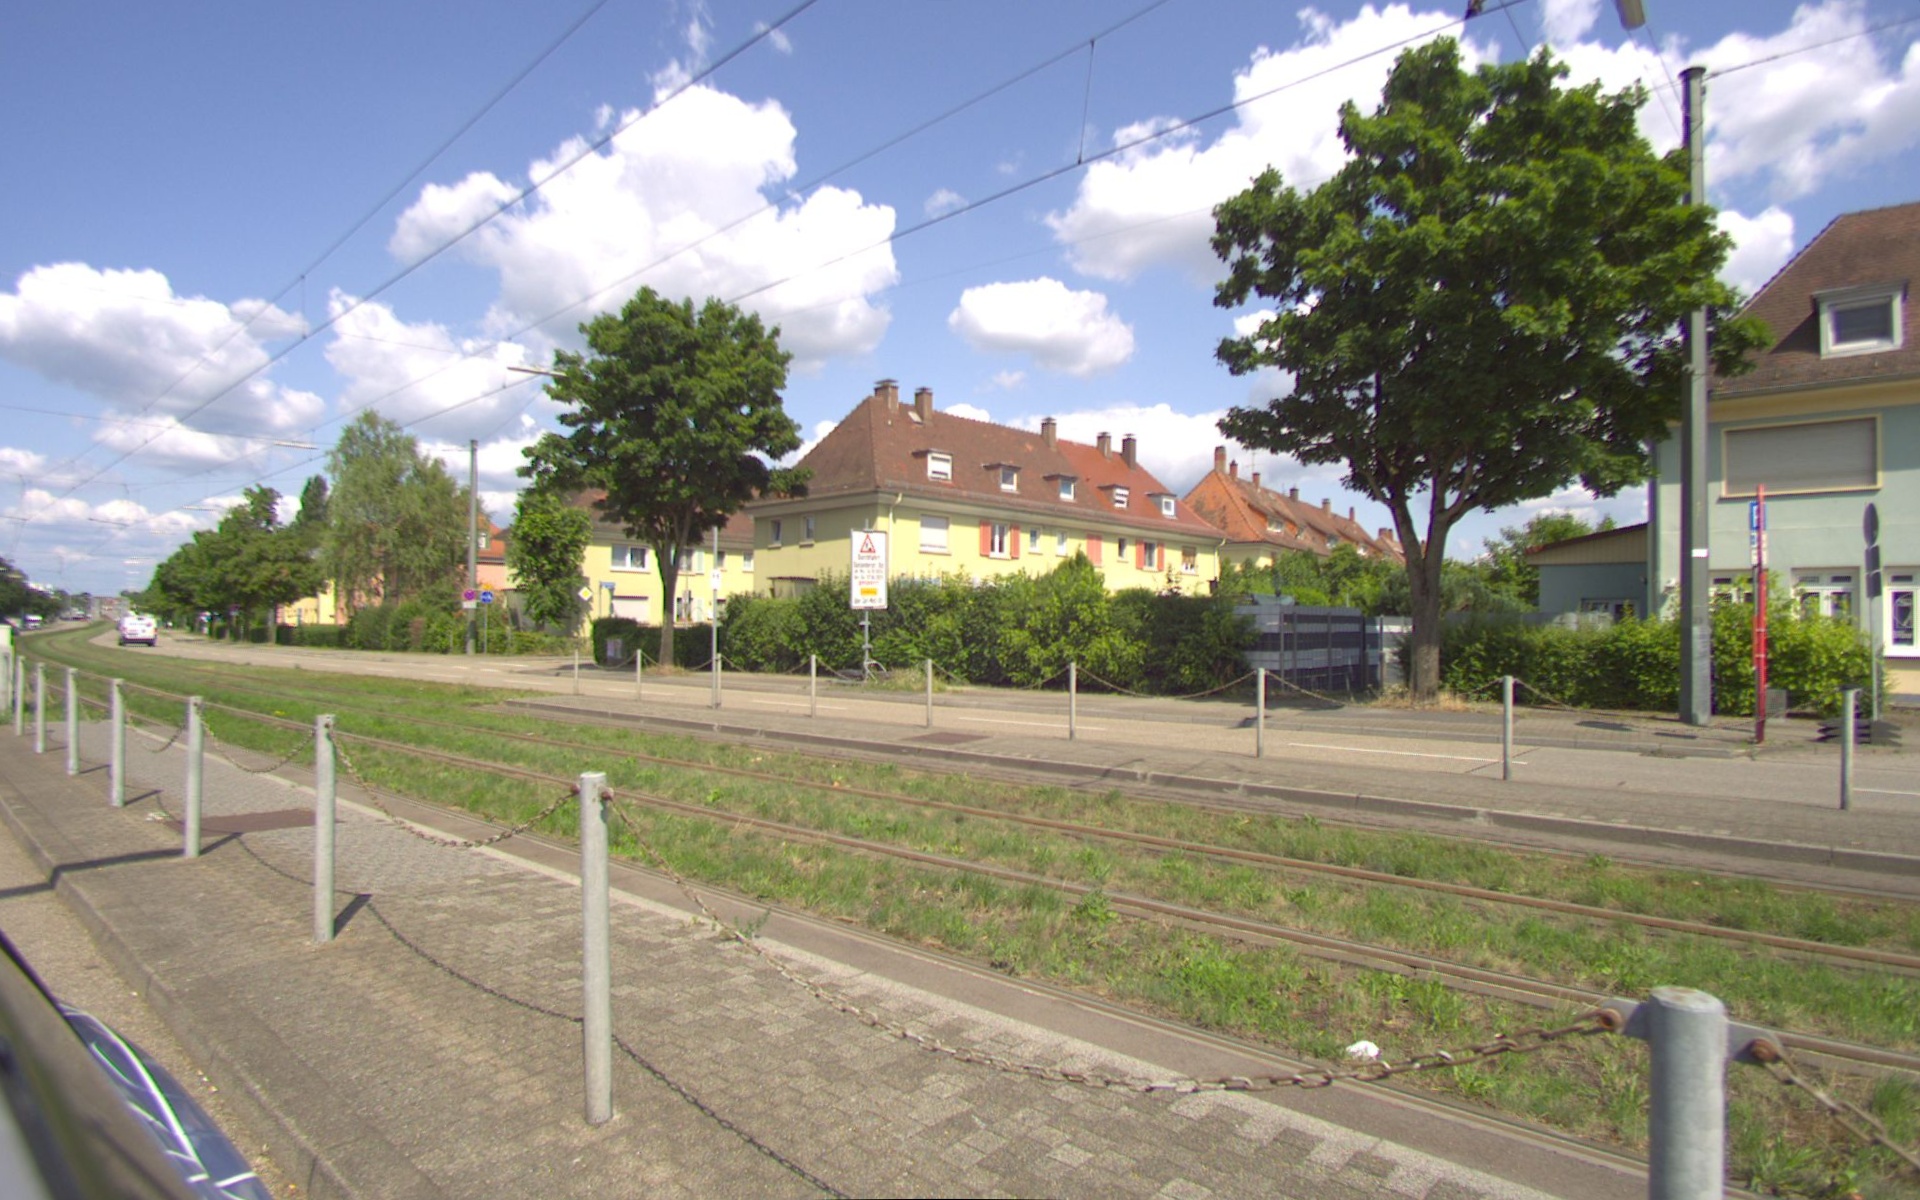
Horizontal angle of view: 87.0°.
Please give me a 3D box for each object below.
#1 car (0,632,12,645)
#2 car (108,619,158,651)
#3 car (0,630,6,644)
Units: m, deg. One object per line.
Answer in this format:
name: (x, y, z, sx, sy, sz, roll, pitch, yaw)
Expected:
car: (-118.543, 4.779, 124.971, 1.969, 1.497, 4.005, 0, -1, -42)
car: (-64.461, 2.694, 78.854, 5.331, 2.390, 2.173, -1, -3, 42)
car: (-107.224, 4.139, 112.213, 1.969, 1.497, 4.005, 0, -1, -42)
